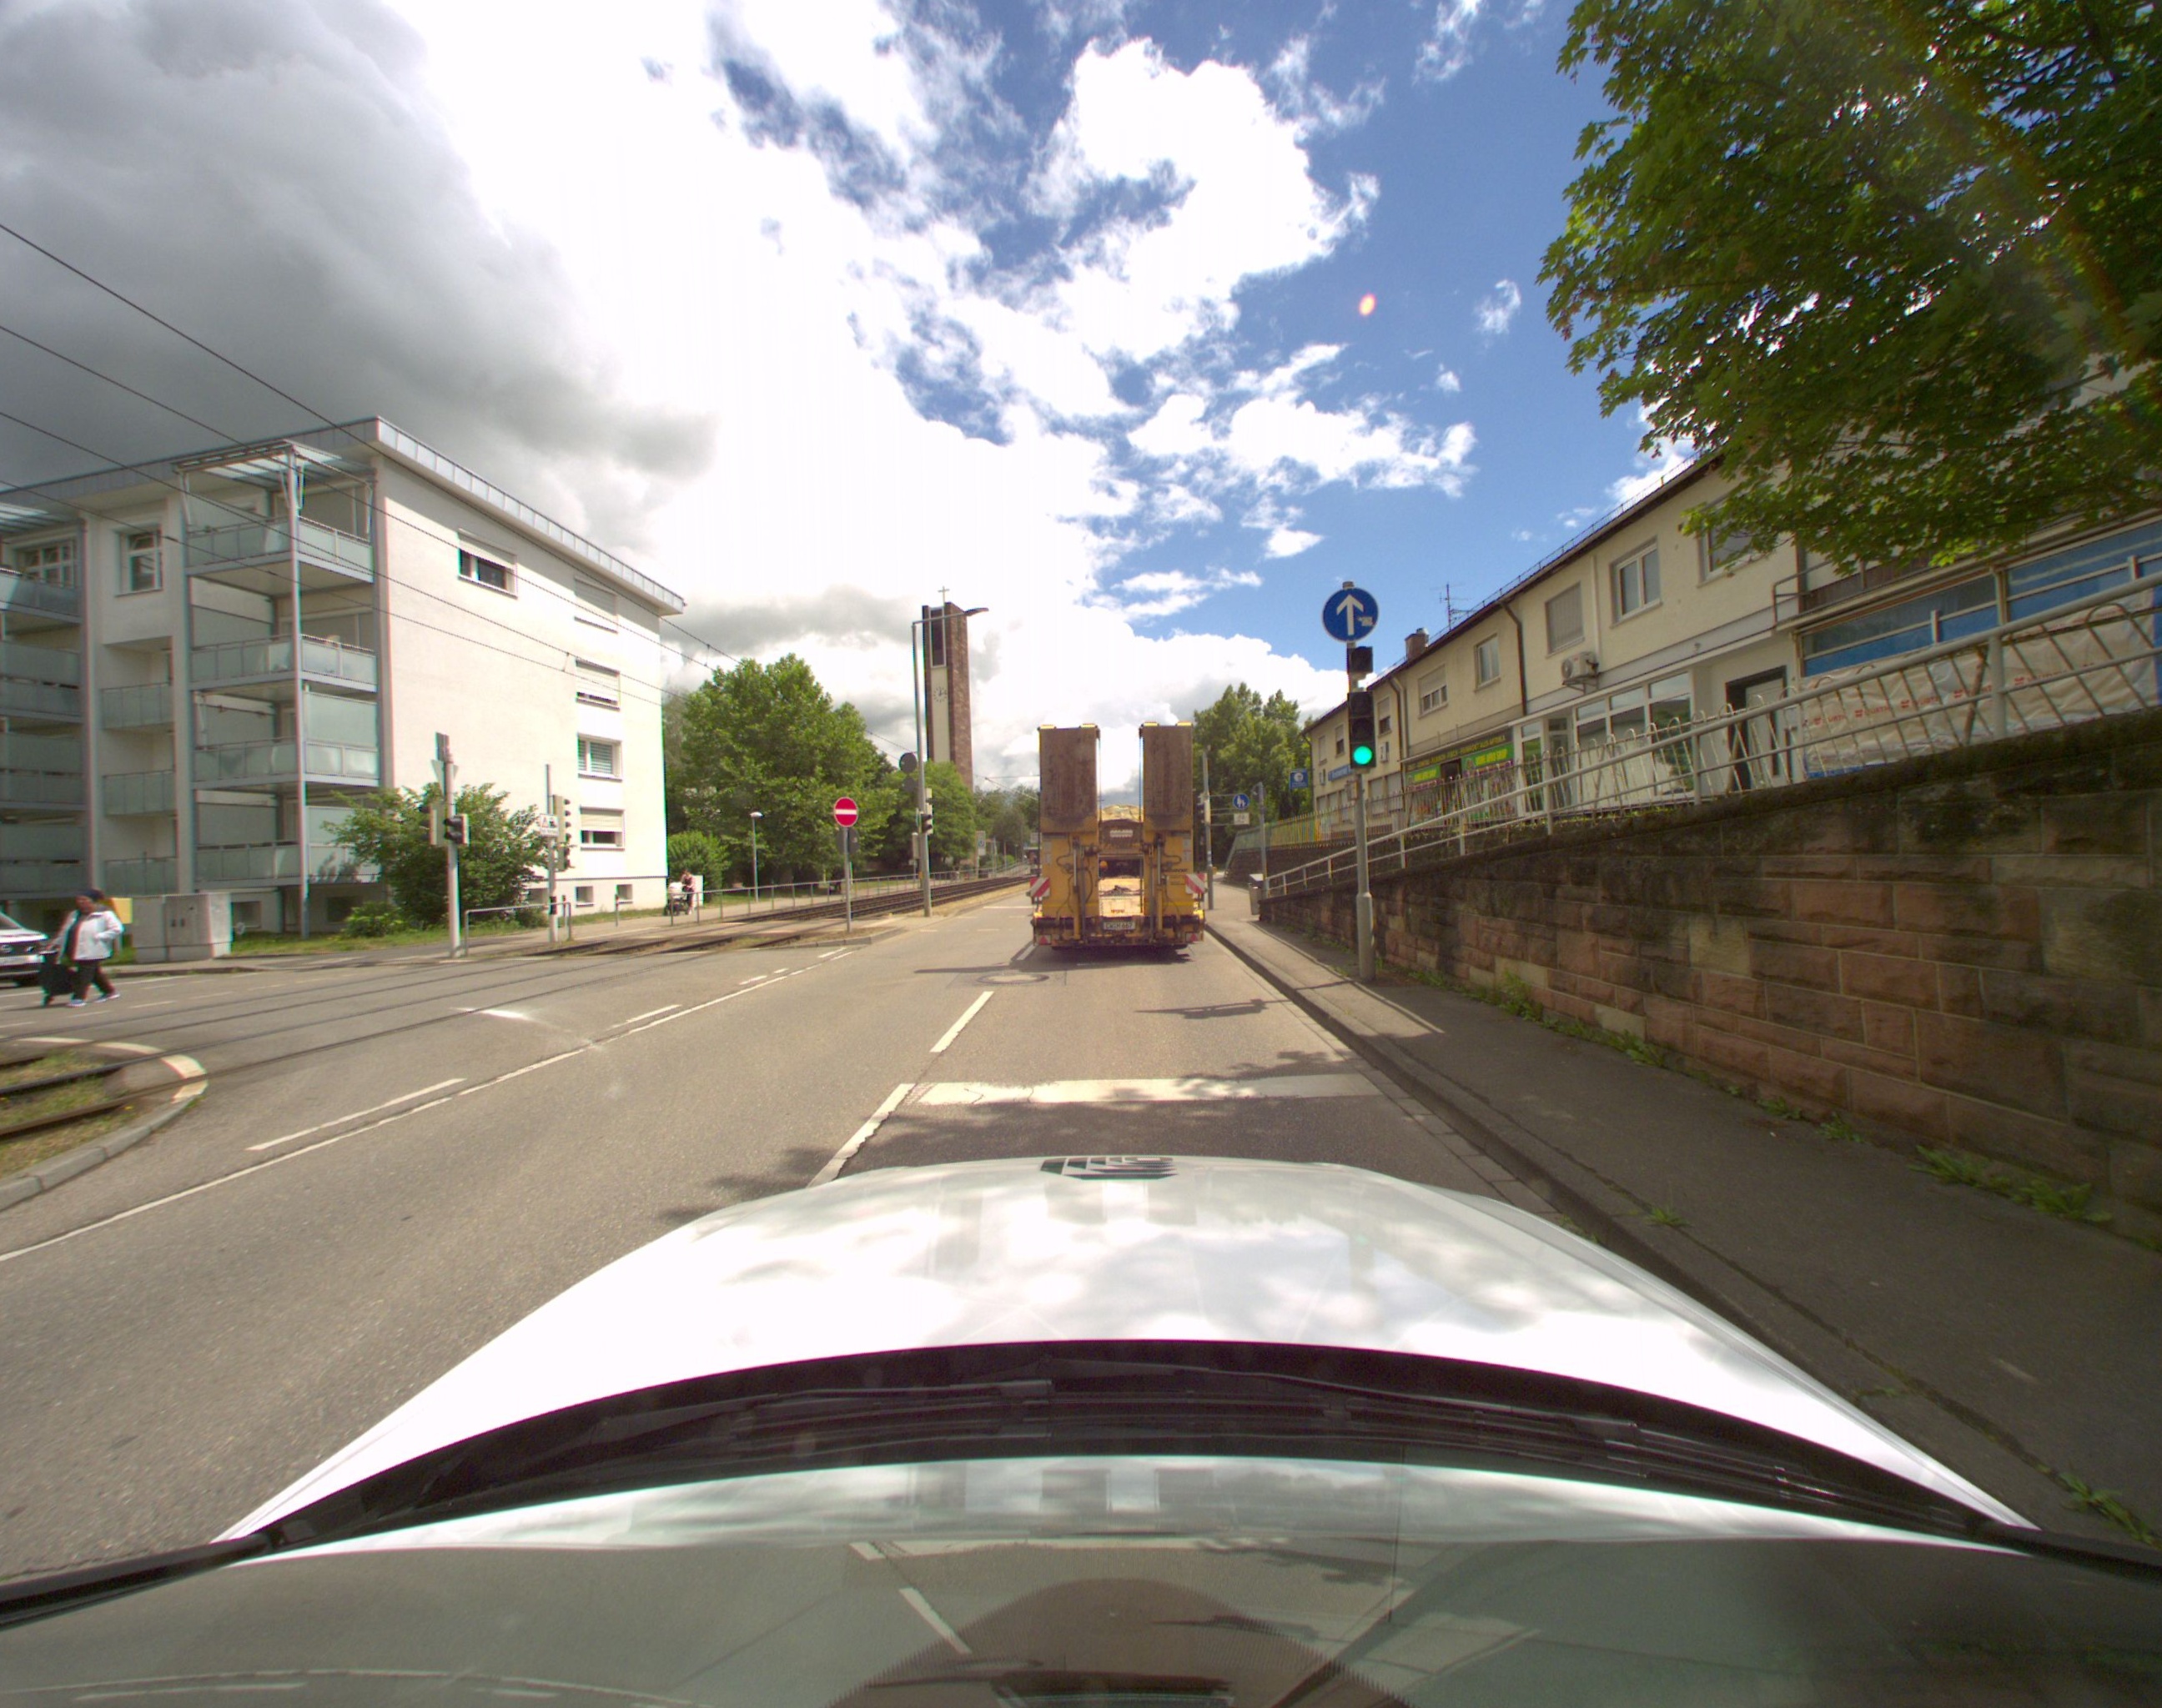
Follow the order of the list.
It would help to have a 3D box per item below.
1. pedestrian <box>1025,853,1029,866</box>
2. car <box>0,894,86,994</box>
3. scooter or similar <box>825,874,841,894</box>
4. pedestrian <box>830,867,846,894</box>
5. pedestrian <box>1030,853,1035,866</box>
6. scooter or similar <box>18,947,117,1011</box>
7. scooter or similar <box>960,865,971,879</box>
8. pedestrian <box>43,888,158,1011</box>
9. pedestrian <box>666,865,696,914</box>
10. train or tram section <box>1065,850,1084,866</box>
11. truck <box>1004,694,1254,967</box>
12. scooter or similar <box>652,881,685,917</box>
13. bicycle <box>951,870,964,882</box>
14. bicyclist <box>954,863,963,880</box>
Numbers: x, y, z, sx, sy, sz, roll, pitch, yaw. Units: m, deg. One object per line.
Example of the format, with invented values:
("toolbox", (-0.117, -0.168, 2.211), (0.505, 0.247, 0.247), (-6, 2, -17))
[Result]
("pedestrian", (-7.744, 0.767, 116.731), (0.582, 1.778, 0.577), (-1, -1, 4))
("car", (-21.305, 1.720, 15.013), (4.252, 1.729, 1.815), (-2, -1, 9))
("scooter or similar", (-13.843, 1.676, 45.421), (0.602, 1.115, 0.821), (-2, -1, 2))
("pedestrian", (-13.819, 1.495, 46.278), (0.610, 1.540, 0.874), (-2, -1, 2))
("pedestrian", (-7.247, 0.792, 121.987), (0.709, 2.014, 0.732), (-1, -1, 2))
("scooter or similar", (-14.297, 1.753, 11.502), (0.530, 0.773, 0.666), (-3, -1, 2))
("scooter or similar", (-10.512, 1.672, 74.181), (0.646, 1.237, 1.403), (-1, 0, 4))
("pedestrian", (-13.721, 1.303, 11.413), (0.601, 1.607, 0.774), (-3, -1, 2))
("pedestrian", (-14.214, 1.265, 28.955), (0.642, 1.692, 0.680), (-2, -1, 3))
("train or tram section", (-1.392, 1.051, 187.844), (3.094, 3.465, 18.844), (-1, -1, 4))
("truck", (0.857, -0.269, 18.362), (3.390, 3.732, 13.742), (-2, -1, 2))
("scooter or similar", (-14.258, 1.541, 28.163), (0.605, 1.163, 0.892), (-2, -1, 4))
("bicycle", (-10.314, 1.828, 68.020), (0.634, 0.994, 1.930), (-1, -1, 4))
("bicyclist", (-10.292, 1.485, 68.422), (0.630, 1.429, 0.791), (-1, -1, 4))
